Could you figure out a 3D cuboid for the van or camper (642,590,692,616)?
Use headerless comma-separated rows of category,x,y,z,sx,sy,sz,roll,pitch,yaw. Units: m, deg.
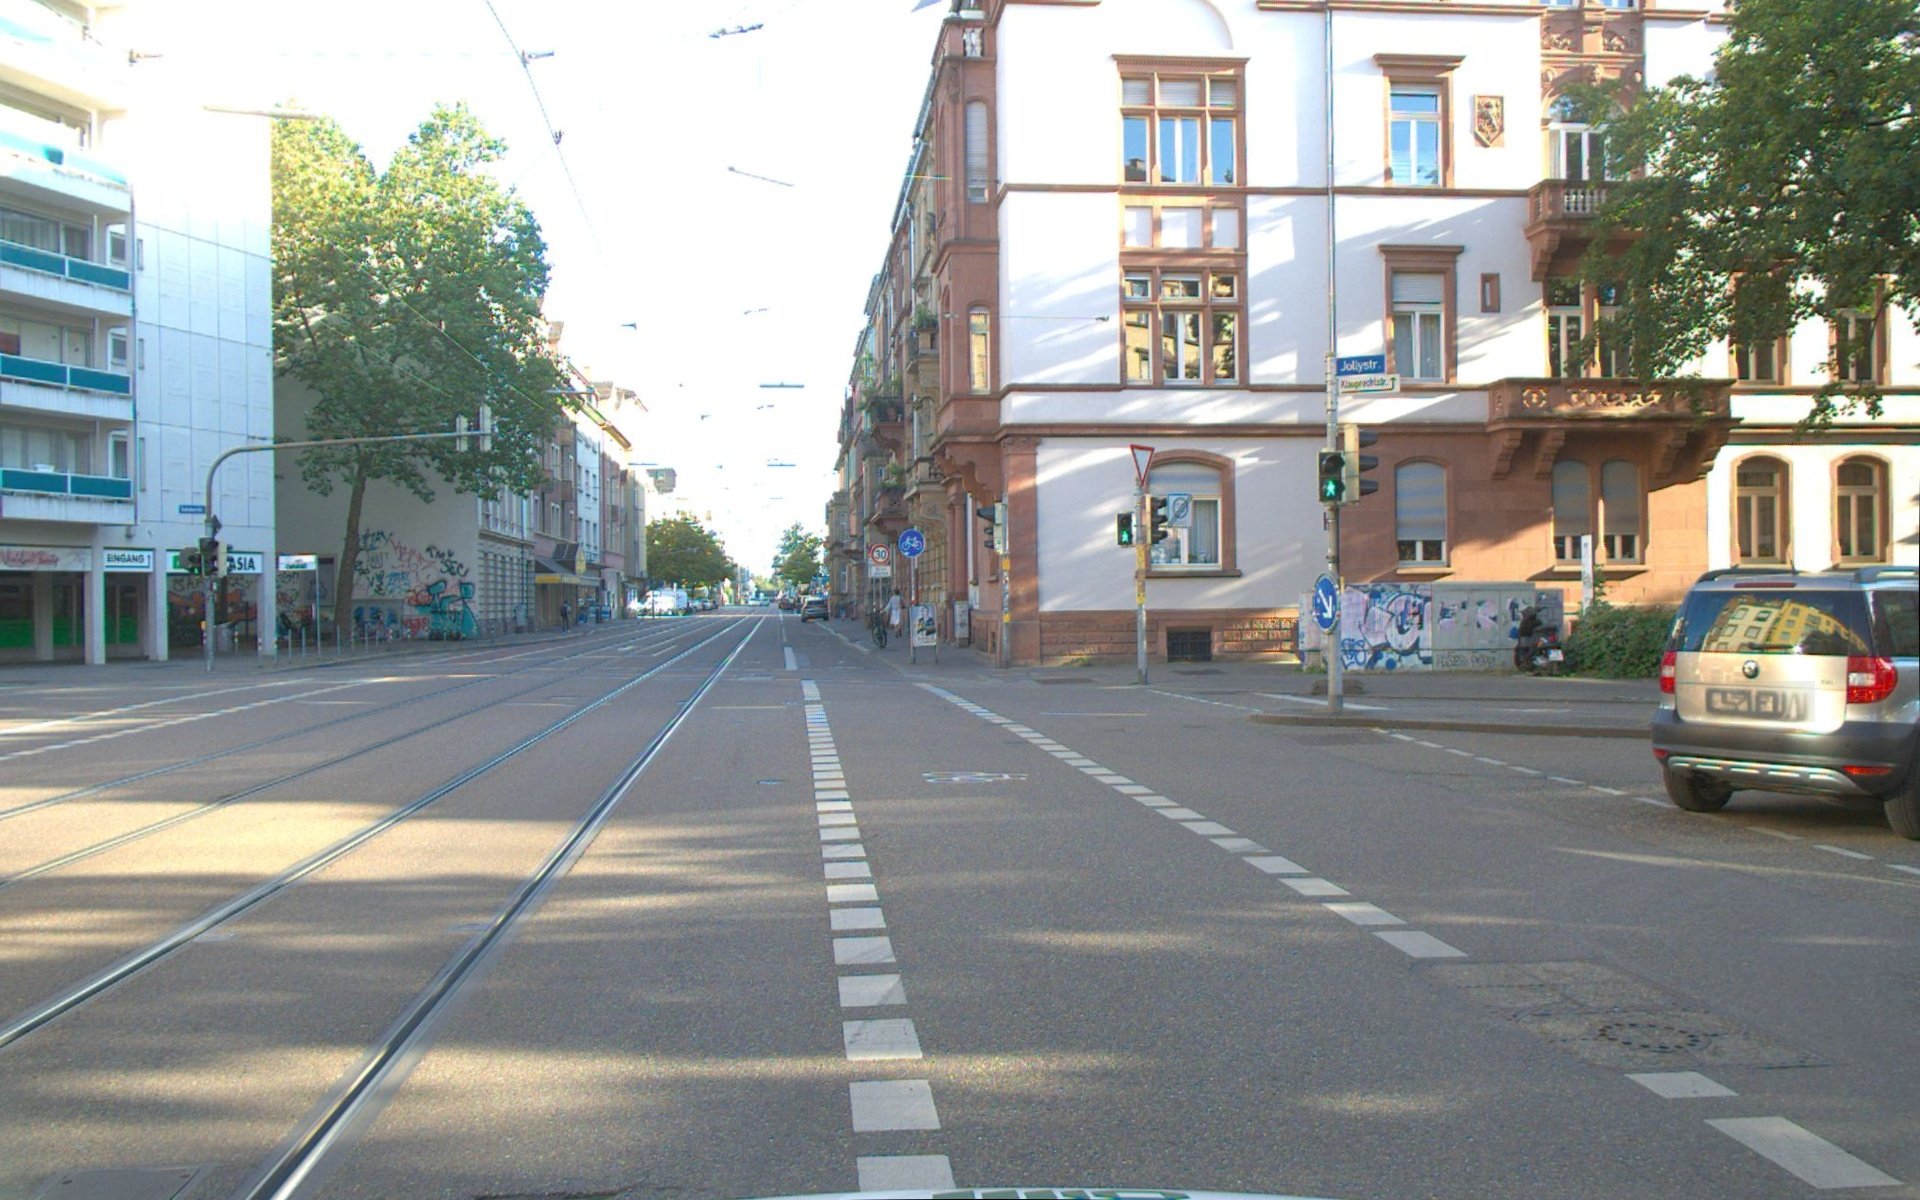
van or camper,-29.241,0.299,165.241,4.601,2.608,1.973,0,-1,-38

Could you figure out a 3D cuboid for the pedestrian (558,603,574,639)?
pedestrian,-19.771,1.041,83.032,0.688,1.759,0.647,-1,0,-6

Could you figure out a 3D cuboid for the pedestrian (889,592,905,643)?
pedestrian,-2.265,0.642,59.315,0.534,1.811,0.503,-1,0,-6

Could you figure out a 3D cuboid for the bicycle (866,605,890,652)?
bicycle,-2.401,0.814,48.077,0.640,1.347,2.175,-1,0,-4

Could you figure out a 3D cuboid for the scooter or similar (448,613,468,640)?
scooter or similar,-20.230,1.073,66.677,0.507,1.076,1.475,-1,0,-8

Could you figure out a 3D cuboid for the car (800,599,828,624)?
car,-10.289,0.808,116.887,1.912,1.713,3.996,-1,0,-5

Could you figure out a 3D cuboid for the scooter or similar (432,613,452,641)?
scooter or similar,-20.858,1.082,66.569,0.507,1.064,1.475,-1,0,-8

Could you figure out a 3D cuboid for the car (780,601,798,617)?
car,-19.794,1.025,191.445,1.955,1.758,3.994,0,-1,-7

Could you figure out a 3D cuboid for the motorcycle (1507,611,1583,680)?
motorcycle,10.175,0.768,28.854,0.704,1.037,2.289,-1,2,5

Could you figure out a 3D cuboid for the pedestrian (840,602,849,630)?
pedestrian,-7.472,1.035,106.804,0.534,1.811,0.748,-1,0,-5

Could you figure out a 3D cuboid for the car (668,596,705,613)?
car,-33.120,0.561,200.084,3.947,2.049,1.979,-1,0,-31

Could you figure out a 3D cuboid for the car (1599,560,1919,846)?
car,6.591,0.564,11.674,3.951,1.646,1.977,-1,2,-34
